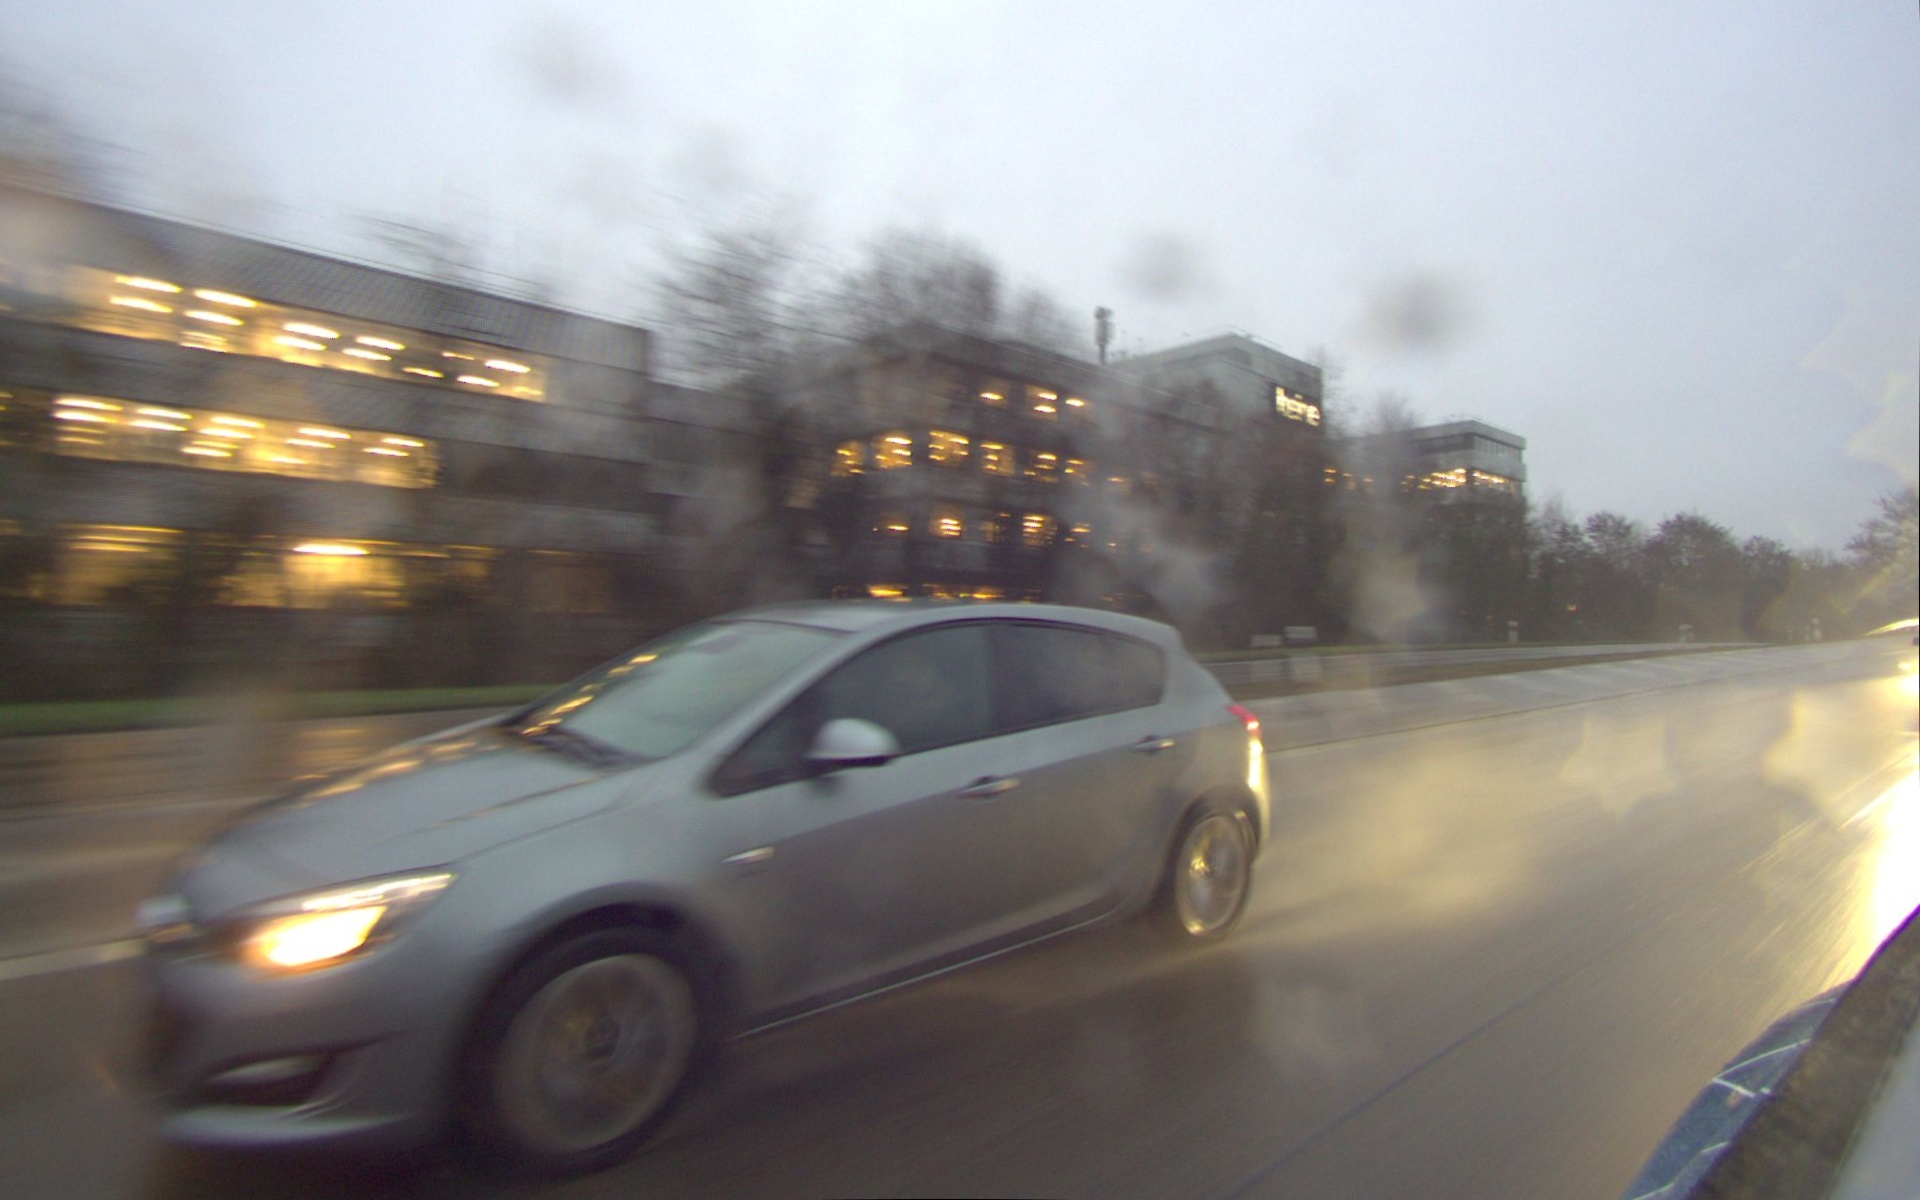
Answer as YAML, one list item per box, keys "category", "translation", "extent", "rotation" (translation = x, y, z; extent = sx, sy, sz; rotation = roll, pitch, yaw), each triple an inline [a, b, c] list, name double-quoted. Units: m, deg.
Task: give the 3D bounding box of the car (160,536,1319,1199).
- category: "car"
  translation: [-0.523, 0.633, 4.069]
  extent: [4.187, 1.521, 1.853]
  rotation: [0, -1, -40]
